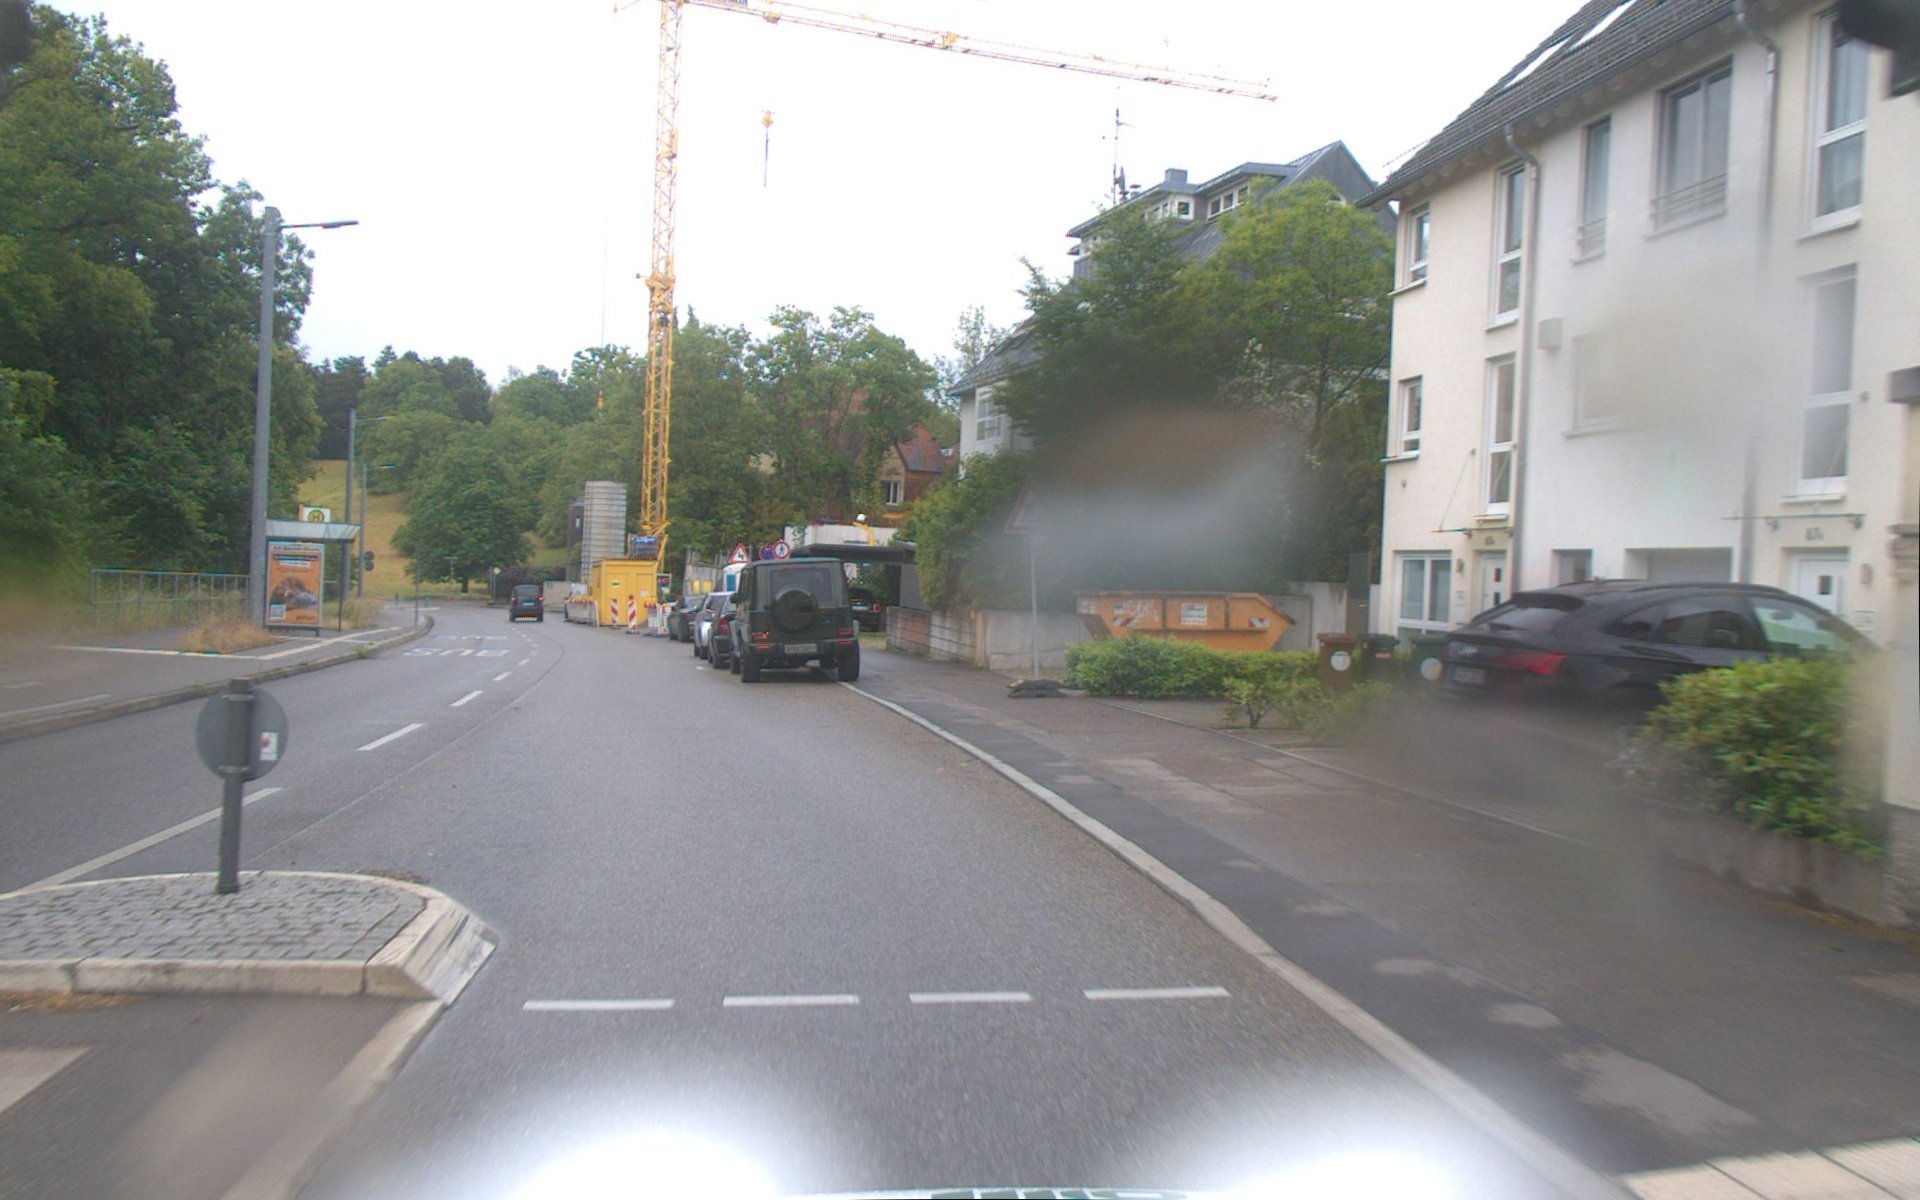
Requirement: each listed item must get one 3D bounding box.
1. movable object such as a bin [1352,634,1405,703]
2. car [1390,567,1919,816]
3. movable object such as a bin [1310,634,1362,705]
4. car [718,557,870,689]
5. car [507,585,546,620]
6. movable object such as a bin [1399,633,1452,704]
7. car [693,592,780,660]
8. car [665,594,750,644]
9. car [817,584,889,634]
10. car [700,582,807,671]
[{"bbox_3d":[5.800,0.949,22.938,0.498,0.927,0.594,1,0,-12],"label":"movable object such as a bin"},{"bbox_3d":[5.850,0.722,13.097,4.250,1.624,1.987,4,-1,-11],"label":"car"},{"bbox_3d":[5.199,0.952,22.869,0.498,0.957,0.594,1,0,-12],"label":"movable object such as a bin"},{"bbox_3d":[-2.965,0.348,28.595,1.959,2.049,4.939,-1,0,-13],"label":"car"},{"bbox_3d":[-22.635,0.116,86.333,1.900,1.782,3.983,1,0,-16],"label":"car"},{"bbox_3d":[6.505,0.954,23.130,0.498,0.972,0.594,1,0,-12],"label":"movable object such as a bin"},{"bbox_3d":[-5.117,0.560,37.572,1.644,1.483,3.374,0,0,-13],"label":"car"},{"bbox_3d":[-7.900,0.554,51.386,1.901,1.447,4.813,1,0,-17],"label":"car"},{"bbox_3d":[-3.621,0.297,55.478,1.666,1.498,3.986,4,-1,-13],"label":"car"},{"bbox_3d":[-4.248,0.504,33.488,1.897,1.624,4.383,-1,0,-10],"label":"car"}]
